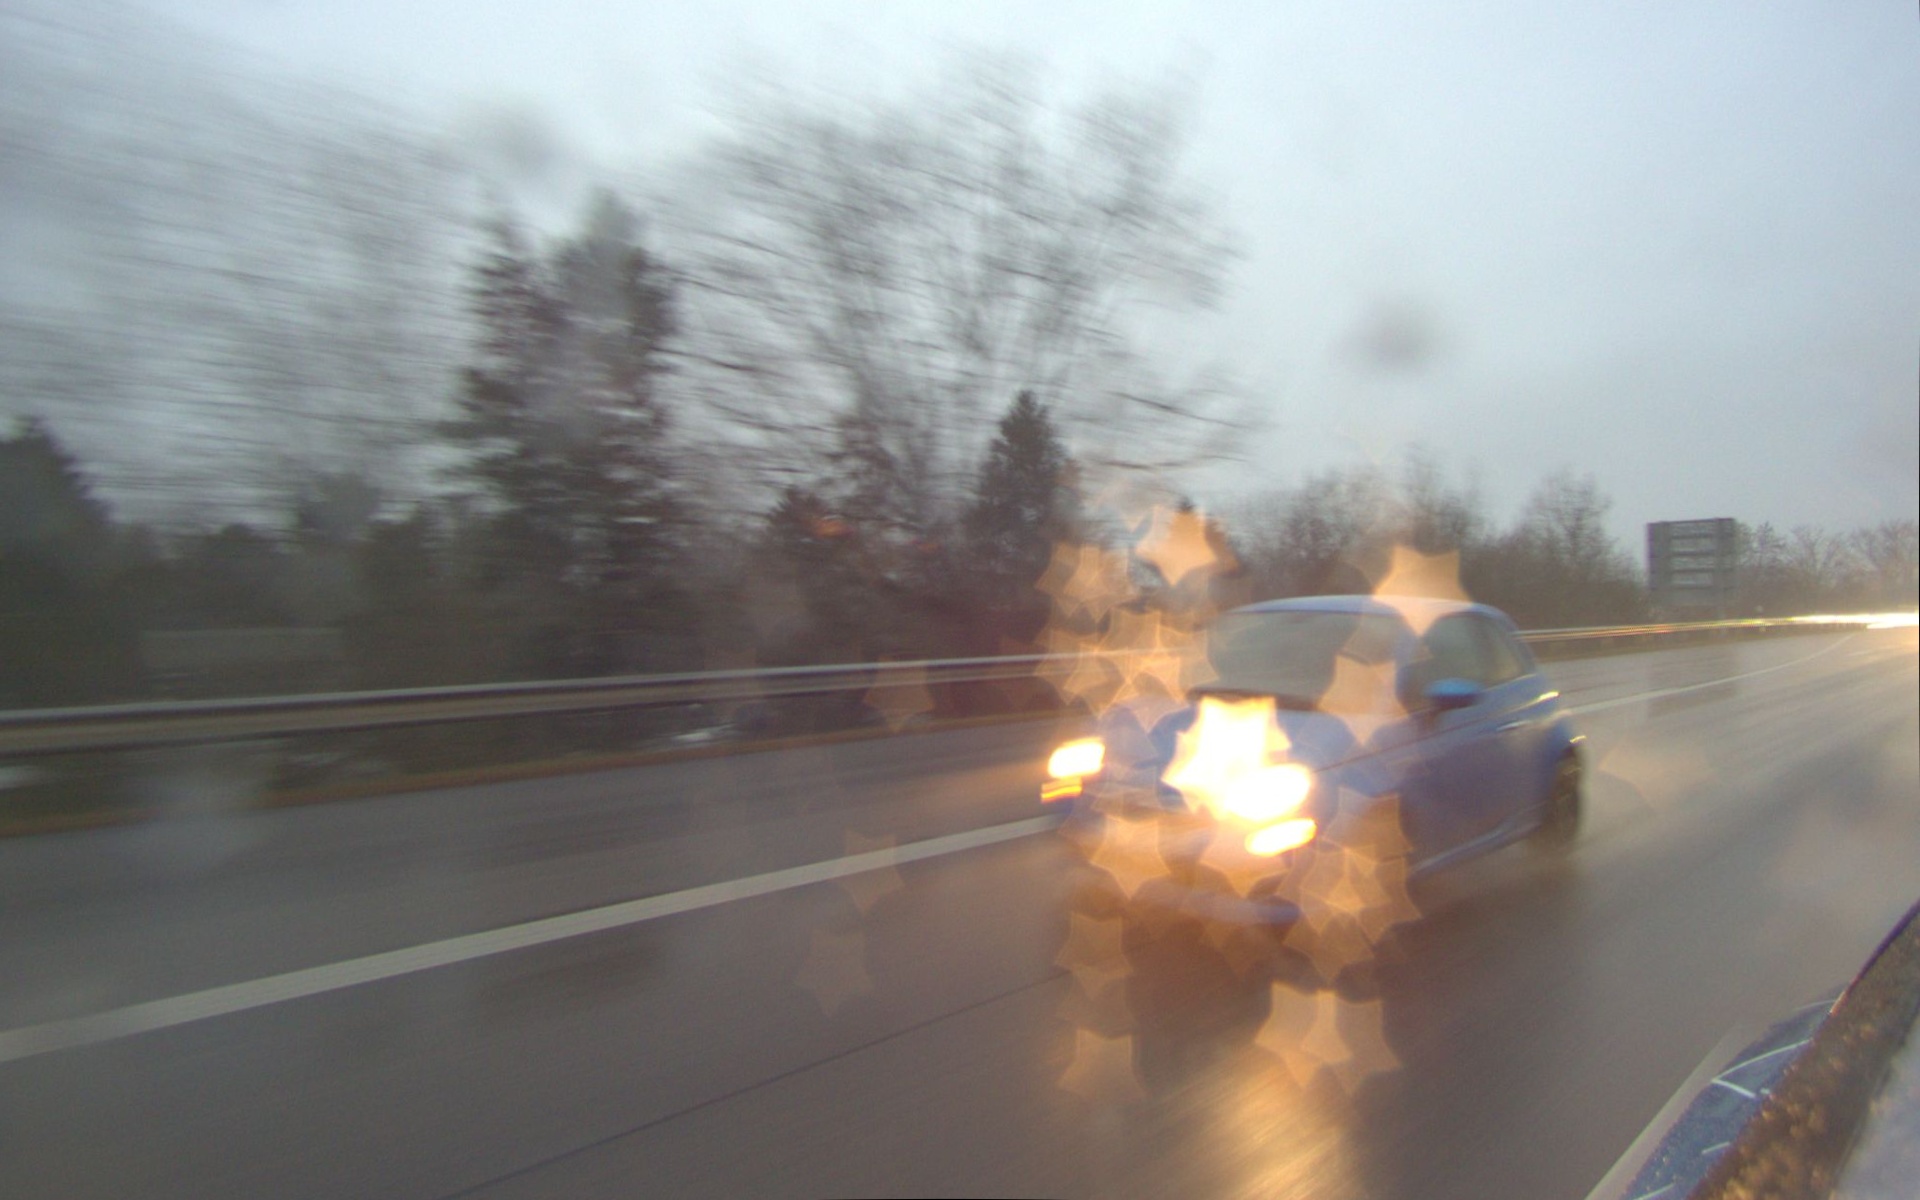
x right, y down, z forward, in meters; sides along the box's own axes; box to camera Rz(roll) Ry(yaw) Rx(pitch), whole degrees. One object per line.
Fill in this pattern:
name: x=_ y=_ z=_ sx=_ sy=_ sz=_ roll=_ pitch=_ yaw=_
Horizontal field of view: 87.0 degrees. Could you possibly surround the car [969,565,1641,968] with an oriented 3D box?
car: x=2.183 y=0.566 z=5.765 sx=4.077 sy=1.472 sz=1.848 roll=-2 pitch=1 yaw=-42
